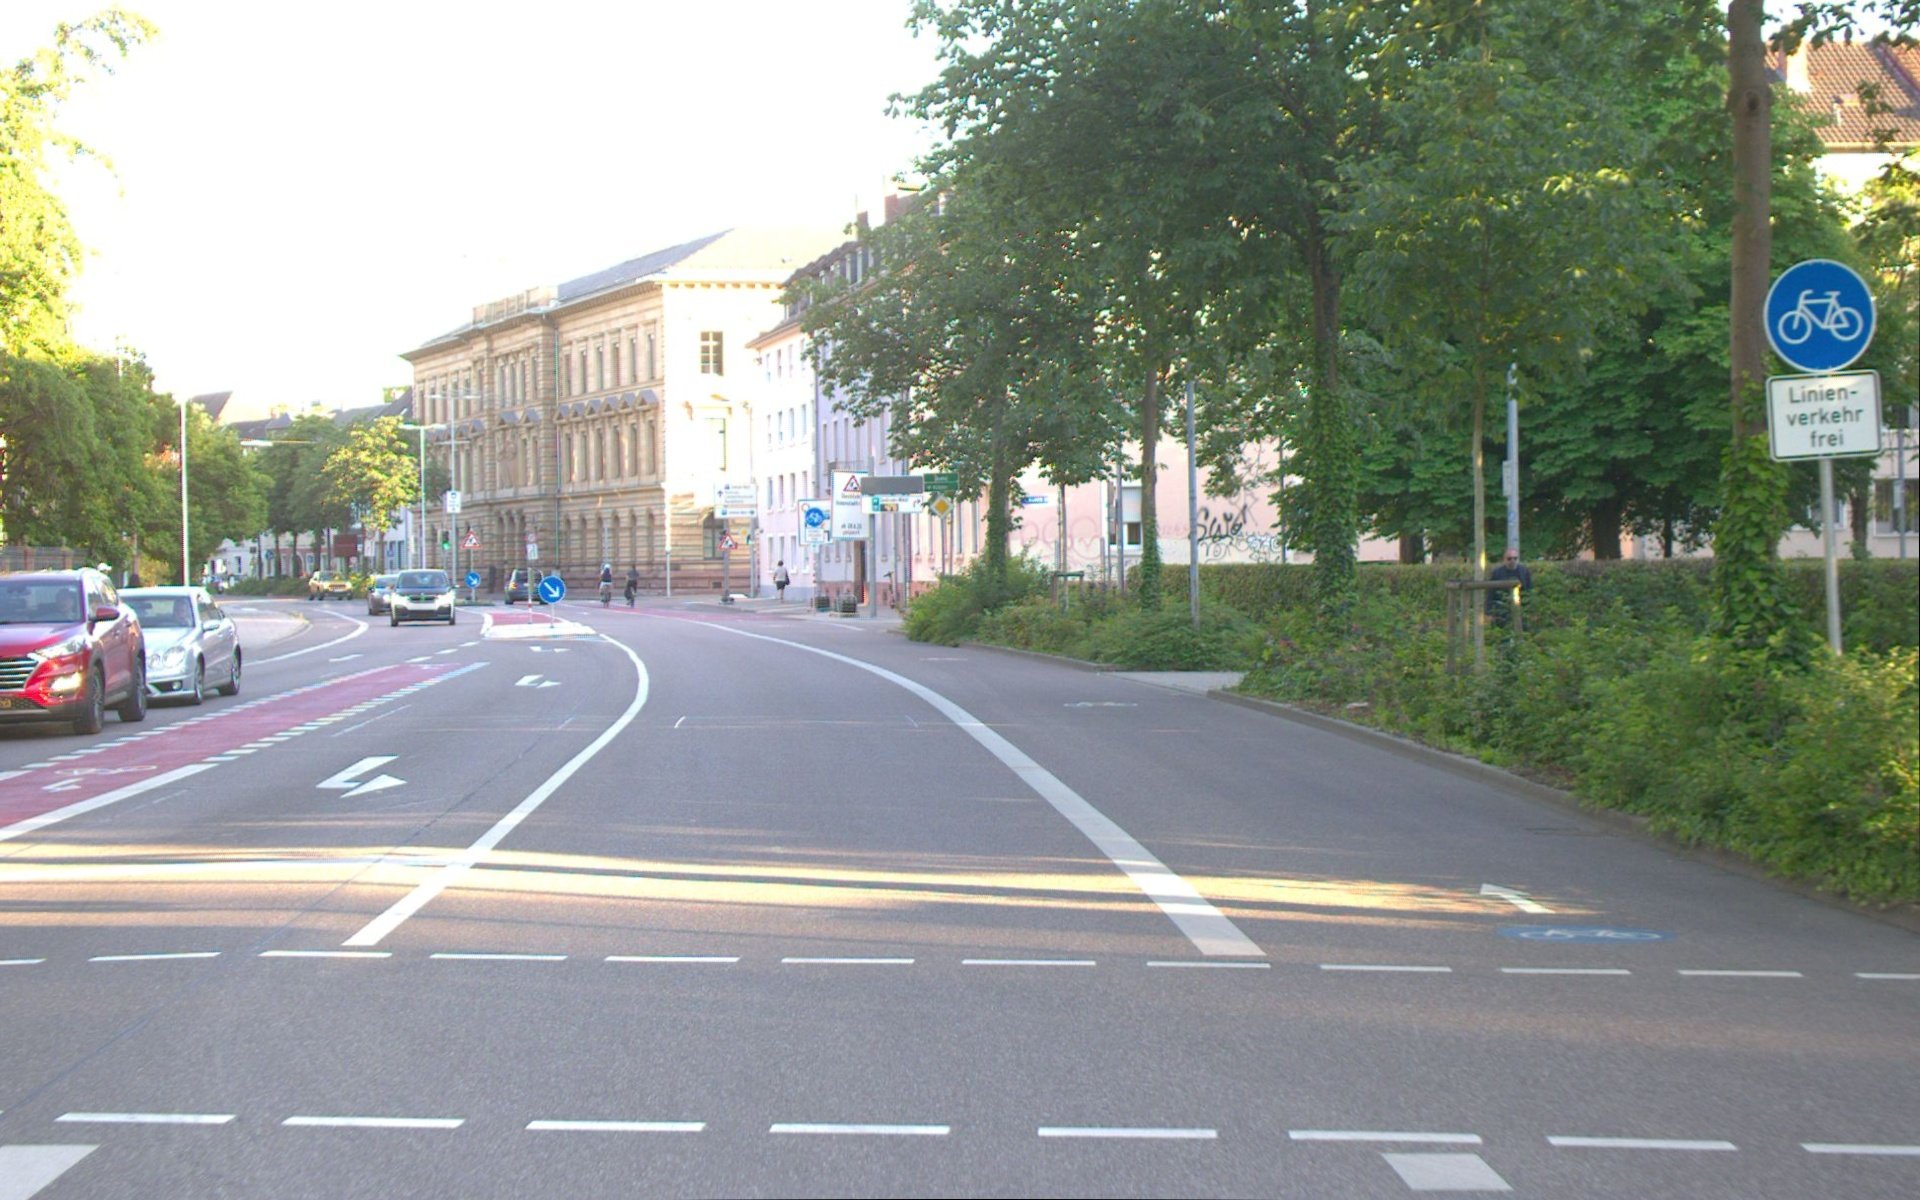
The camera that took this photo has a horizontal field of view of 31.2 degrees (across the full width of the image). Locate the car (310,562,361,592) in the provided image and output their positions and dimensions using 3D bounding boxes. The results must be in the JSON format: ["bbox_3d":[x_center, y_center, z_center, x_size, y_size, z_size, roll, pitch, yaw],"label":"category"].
[{"bbox_3d":[-32.961,-1.220,181.311,1.993,1.579,4.001,0,0,-20],"label":"car"}]

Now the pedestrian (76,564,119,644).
[{"bbox_3d":[-17.577,0.078,70.074,0.681,1.617,0.688,-1,1,0],"label":"pedestrian"}]

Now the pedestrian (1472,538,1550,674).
[{"bbox_3d":[7.114,0.073,44.414,0.769,1.733,0.807,-1,1,-9],"label":"pedestrian"}]

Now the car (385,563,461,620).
[{"bbox_3d":[-15.145,-0.254,96.834,1.848,1.521,4.001,-2,1,-12],"label":"car"}]

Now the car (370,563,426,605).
[{"bbox_3d":[-20.504,-0.586,125.351,1.835,1.434,4.001,-3,1,-11],"label":"car"}]

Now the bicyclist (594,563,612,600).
[{"bbox_3d":[-14.042,-0.720,135.195,0.652,1.441,0.879,2,0,-5],"label":"bicyclist"}]

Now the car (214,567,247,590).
[{"bbox_3d":[-50.825,-1.519,239.591,1.993,1.579,4.001,0,0,-16],"label":"car"}]

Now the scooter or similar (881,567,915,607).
[{"bbox_3d":[-2.091,-0.440,115.243,0.629,1.332,2.401,0,0,-13],"label":"scooter or similar"}]

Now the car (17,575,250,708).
[{"bbox_3d":[-9.978,0.456,41.866,1.916,1.413,4.771,-3,1,-4],"label":"car"}]

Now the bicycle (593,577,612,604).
[{"bbox_3d":[-14.060,-0.375,135.228,0.652,1.012,2.198,2,0,-5],"label":"bicycle"}]

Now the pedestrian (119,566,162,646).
[{"bbox_3d":[-16.663,0.117,69.927,0.681,1.617,0.688,-1,1,1],"label":"pedestrian"}]

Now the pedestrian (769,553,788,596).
[{"bbox_3d":[-7.432,-1.039,141.039,0.762,1.749,0.845,0,0,-2],"label":"pedestrian"}]

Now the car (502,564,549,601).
[{"bbox_3d":[-18.366,-0.740,145.396,1.867,1.505,4.001,0,0,-6],"label":"car"}]

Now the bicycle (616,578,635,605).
[{"bbox_3d":[-13.130,-0.337,134.948,0.652,1.012,2.198,2,0,-4],"label":"bicycle"}]

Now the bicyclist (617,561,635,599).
[{"bbox_3d":[-13.121,-0.778,134.952,0.652,1.470,0.941,2,0,-4],"label":"bicyclist"}]

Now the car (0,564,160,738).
[{"bbox_3d":[-9.521,0.486,34.949,1.916,1.619,4.640,-3,1,-4],"label":"car"}]
